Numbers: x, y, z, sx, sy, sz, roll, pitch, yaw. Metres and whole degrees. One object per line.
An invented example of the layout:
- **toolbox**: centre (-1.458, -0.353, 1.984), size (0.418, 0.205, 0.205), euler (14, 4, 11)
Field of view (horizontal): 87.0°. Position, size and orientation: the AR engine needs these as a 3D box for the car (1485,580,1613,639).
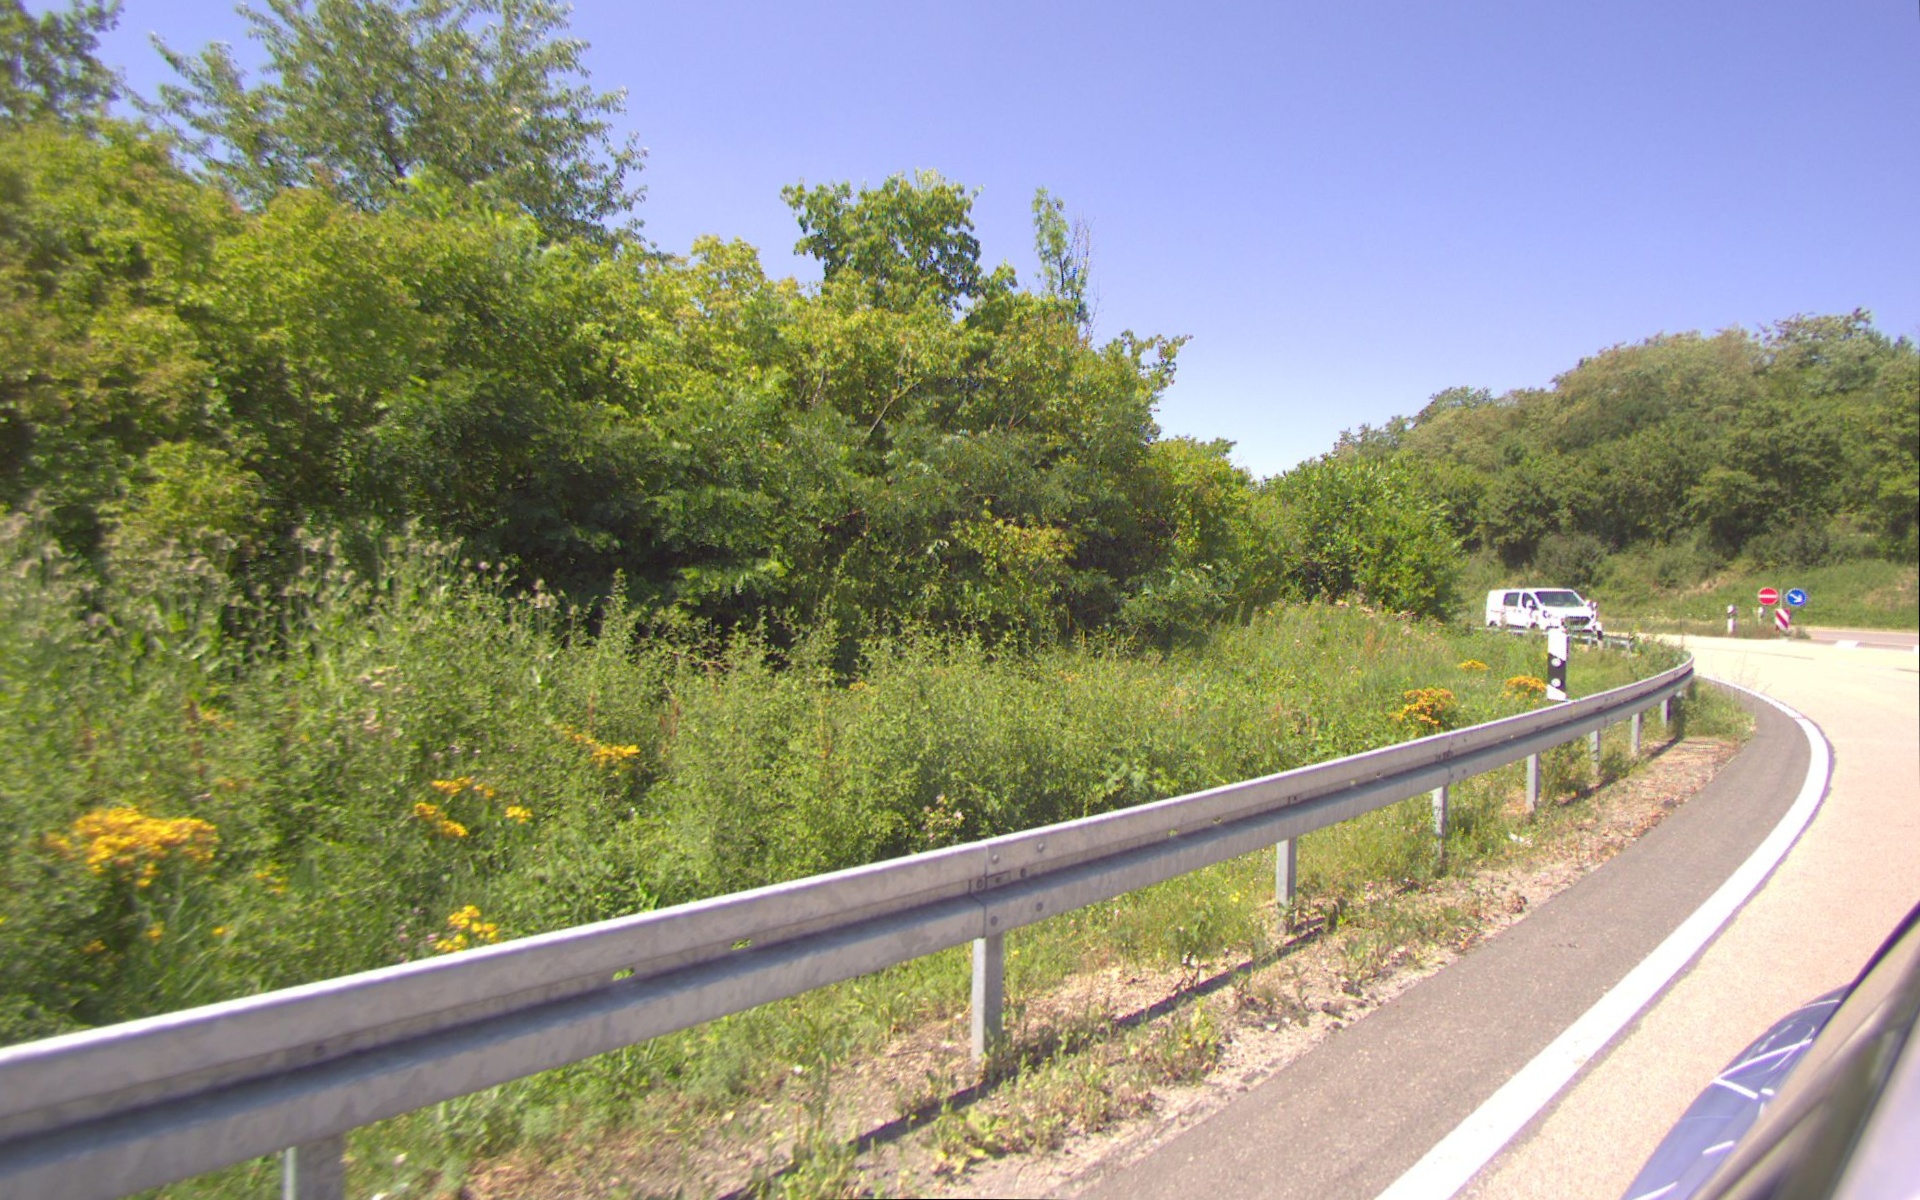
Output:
- **car**: centre (22.184, 0.321, 38.377), size (2.026, 2.039, 5.037), euler (-1, 0, 3)
